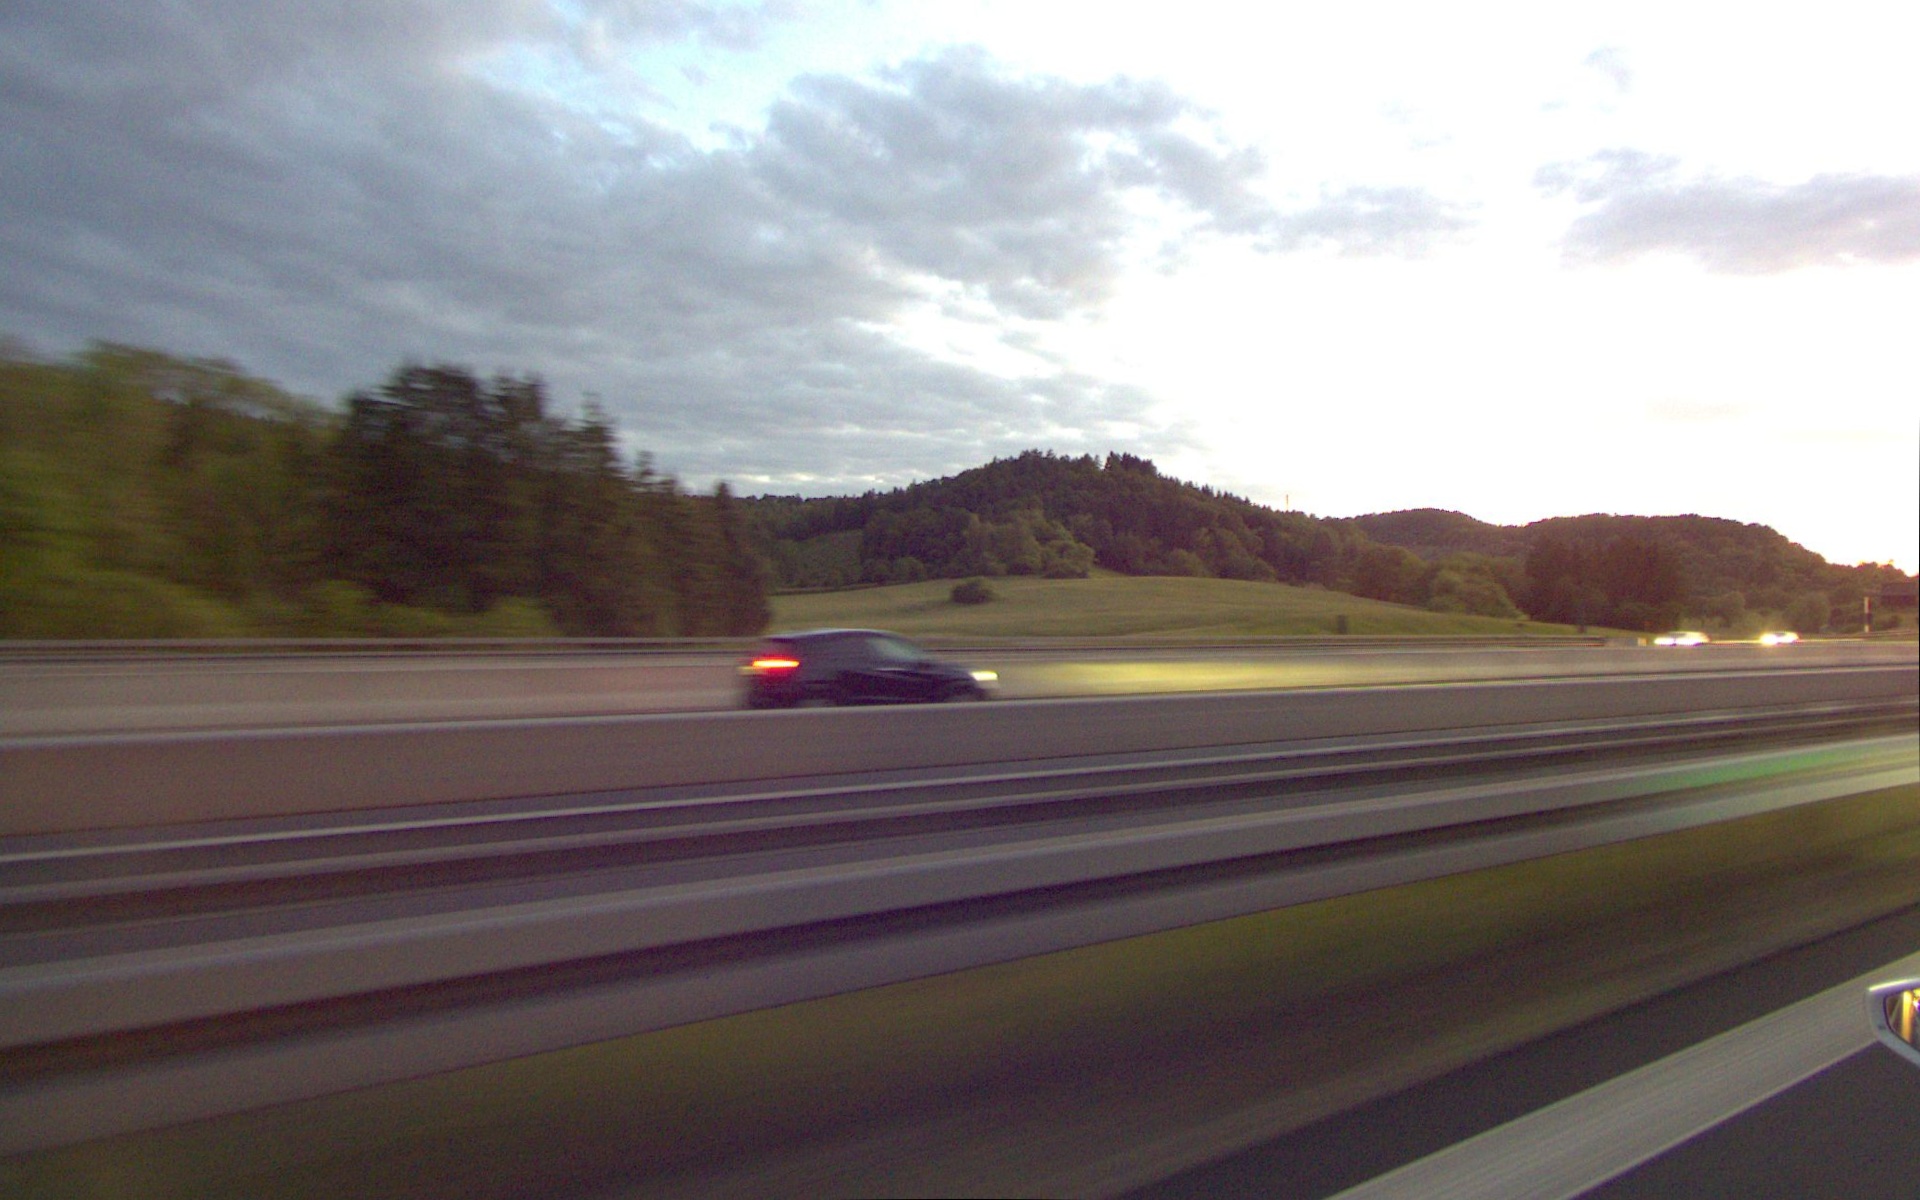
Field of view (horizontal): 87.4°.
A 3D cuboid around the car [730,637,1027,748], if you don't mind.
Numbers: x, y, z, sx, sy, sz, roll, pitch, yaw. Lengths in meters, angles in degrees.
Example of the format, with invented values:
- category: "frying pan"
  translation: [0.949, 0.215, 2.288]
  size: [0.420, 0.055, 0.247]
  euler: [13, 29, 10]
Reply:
- category: "car"
  translation: [-1.282, 1.417, 16.344]
  size: [4.467, 1.582, 1.863]
  euler: [2, -2, -30]

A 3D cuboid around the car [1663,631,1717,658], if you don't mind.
- category: "car"
  translation: [56.888, 3.470, 78.275]
  size: [4.686, 2.040, 1.981]
  euler: [2, -2, -35]
